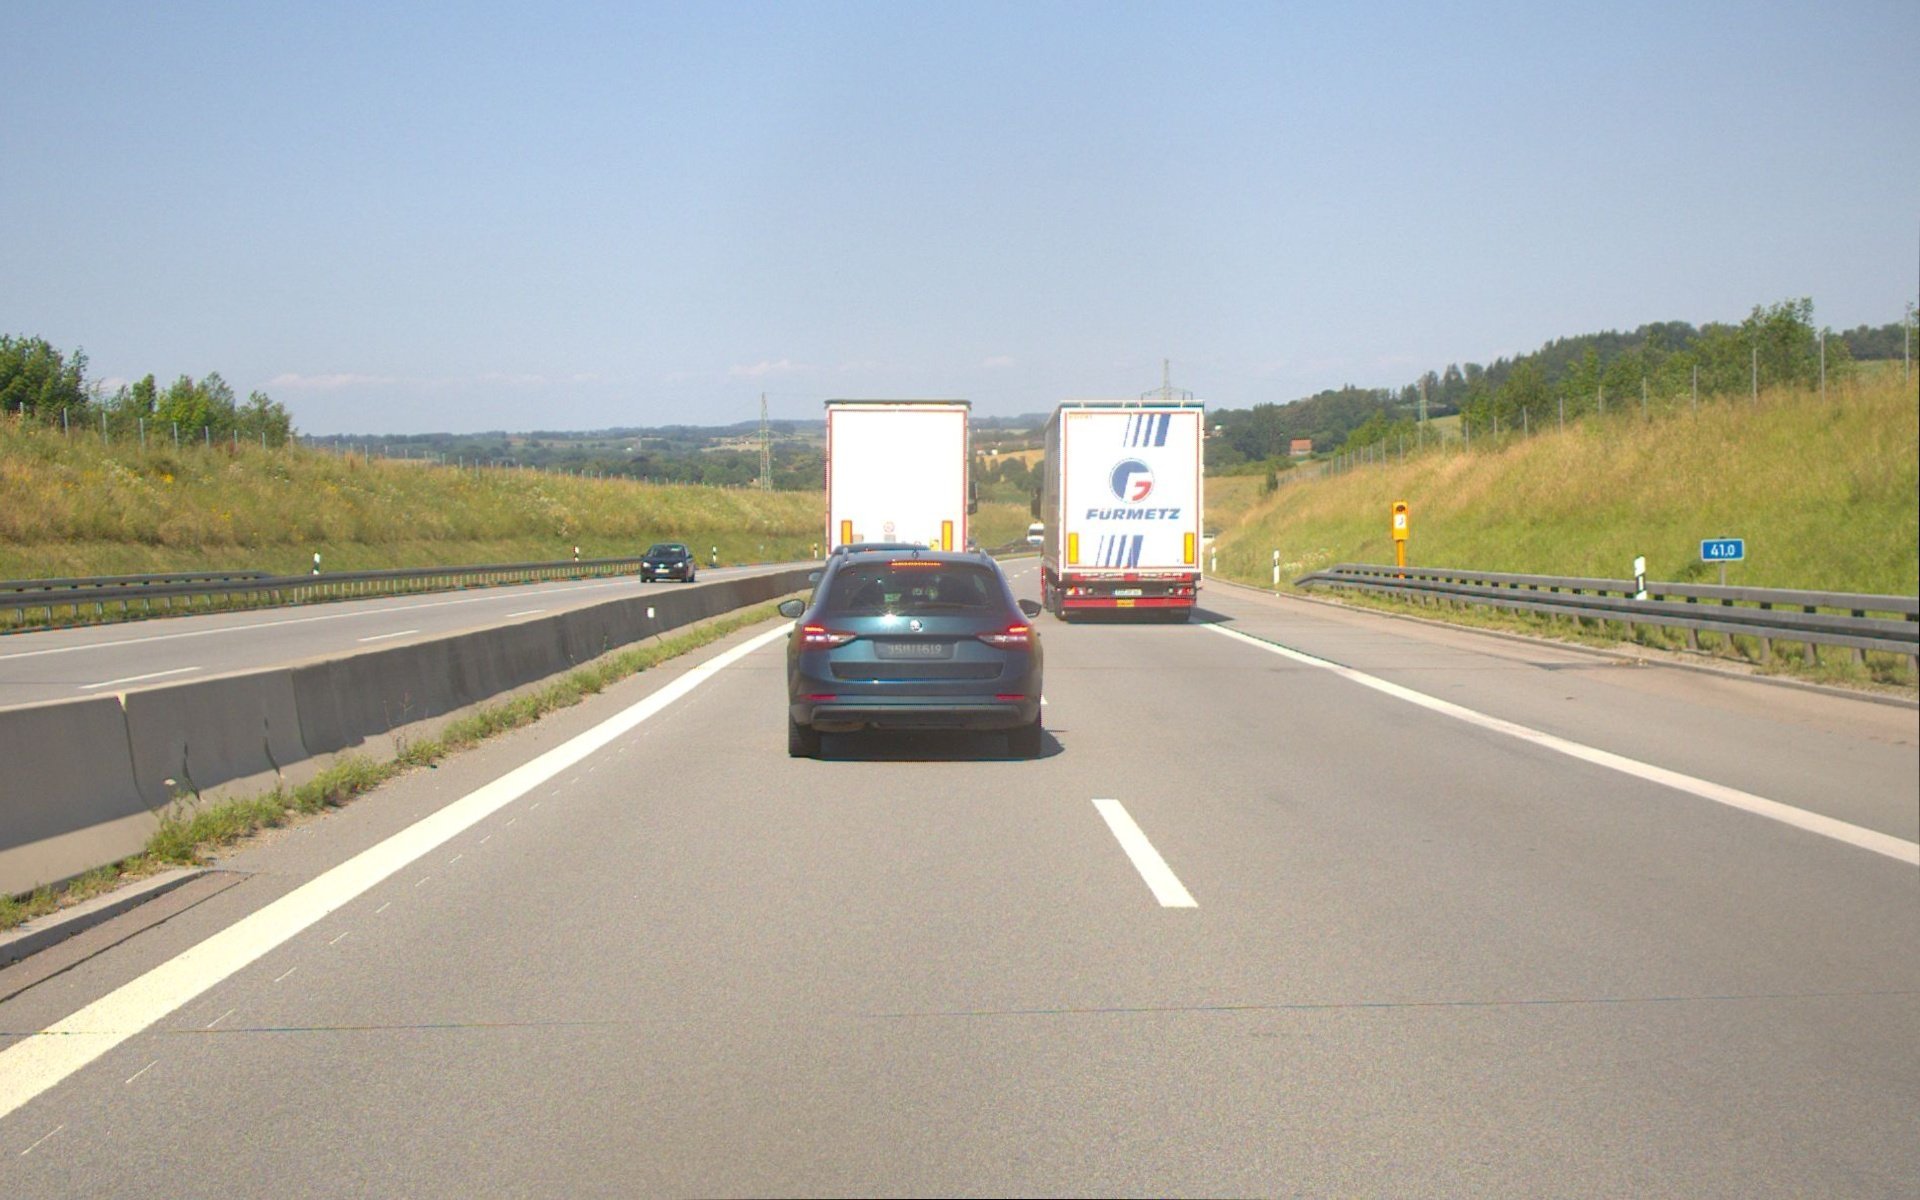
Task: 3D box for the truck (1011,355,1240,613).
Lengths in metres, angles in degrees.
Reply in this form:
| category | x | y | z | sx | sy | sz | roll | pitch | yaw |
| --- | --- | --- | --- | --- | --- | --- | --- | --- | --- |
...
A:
| category | x | y | z | sx | sy | sz | roll | pitch | yaw |
| --- | --- | --- | --- | --- | --- | --- | --- | --- | --- |
| truck | 2.989 | -2.158 | 66.001 | 3.604 | 4.366 | 11.234 | -3 | 1 | 0 |

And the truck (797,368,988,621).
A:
| category | x | y | z | sx | sy | sz | roll | pitch | yaw |
| --- | --- | --- | --- | --- | --- | --- | --- | --- | --- |
| truck | -1.195 | -2.011 | 66.922 | 3.211 | 4.366 | 11.234 | -3 | 1 | 0 |

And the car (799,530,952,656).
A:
| category | x | y | z | sx | sy | sz | roll | pitch | yaw |
| --- | --- | --- | --- | --- | --- | --- | --- | --- | --- |
| car | -1.120 | -0.124 | 43.600 | 1.700 | 1.436 | 4.001 | -3 | 1 | -4 |

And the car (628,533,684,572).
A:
| category | x | y | z | sx | sy | sz | roll | pitch | yaw |
| --- | --- | --- | --- | --- | --- | --- | --- | --- | --- |
| car | -11.500 | -1.808 | 130.231 | 1.746 | 1.351 | 4.000 | -3 | 1 | 0 |

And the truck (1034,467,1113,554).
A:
| category | x | y | z | sx | sy | sz | roll | pitch | yaw |
| --- | --- | --- | --- | --- | --- | --- | --- | --- | --- |
| truck | 6.022 | -4.763 | 183.582 | 3.604 | 4.366 | 11.234 | -3 | 1 | 0 |

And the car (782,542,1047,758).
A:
| category | x | y | z | sx | sy | sz | roll | pitch | yaw |
| --- | --- | --- | --- | --- | --- | --- | --- | --- | --- |
| car | -0.365 | 0.303 | 24.969 | 1.776 | 1.436 | 3.789 | 0 | 1 | -2 |
